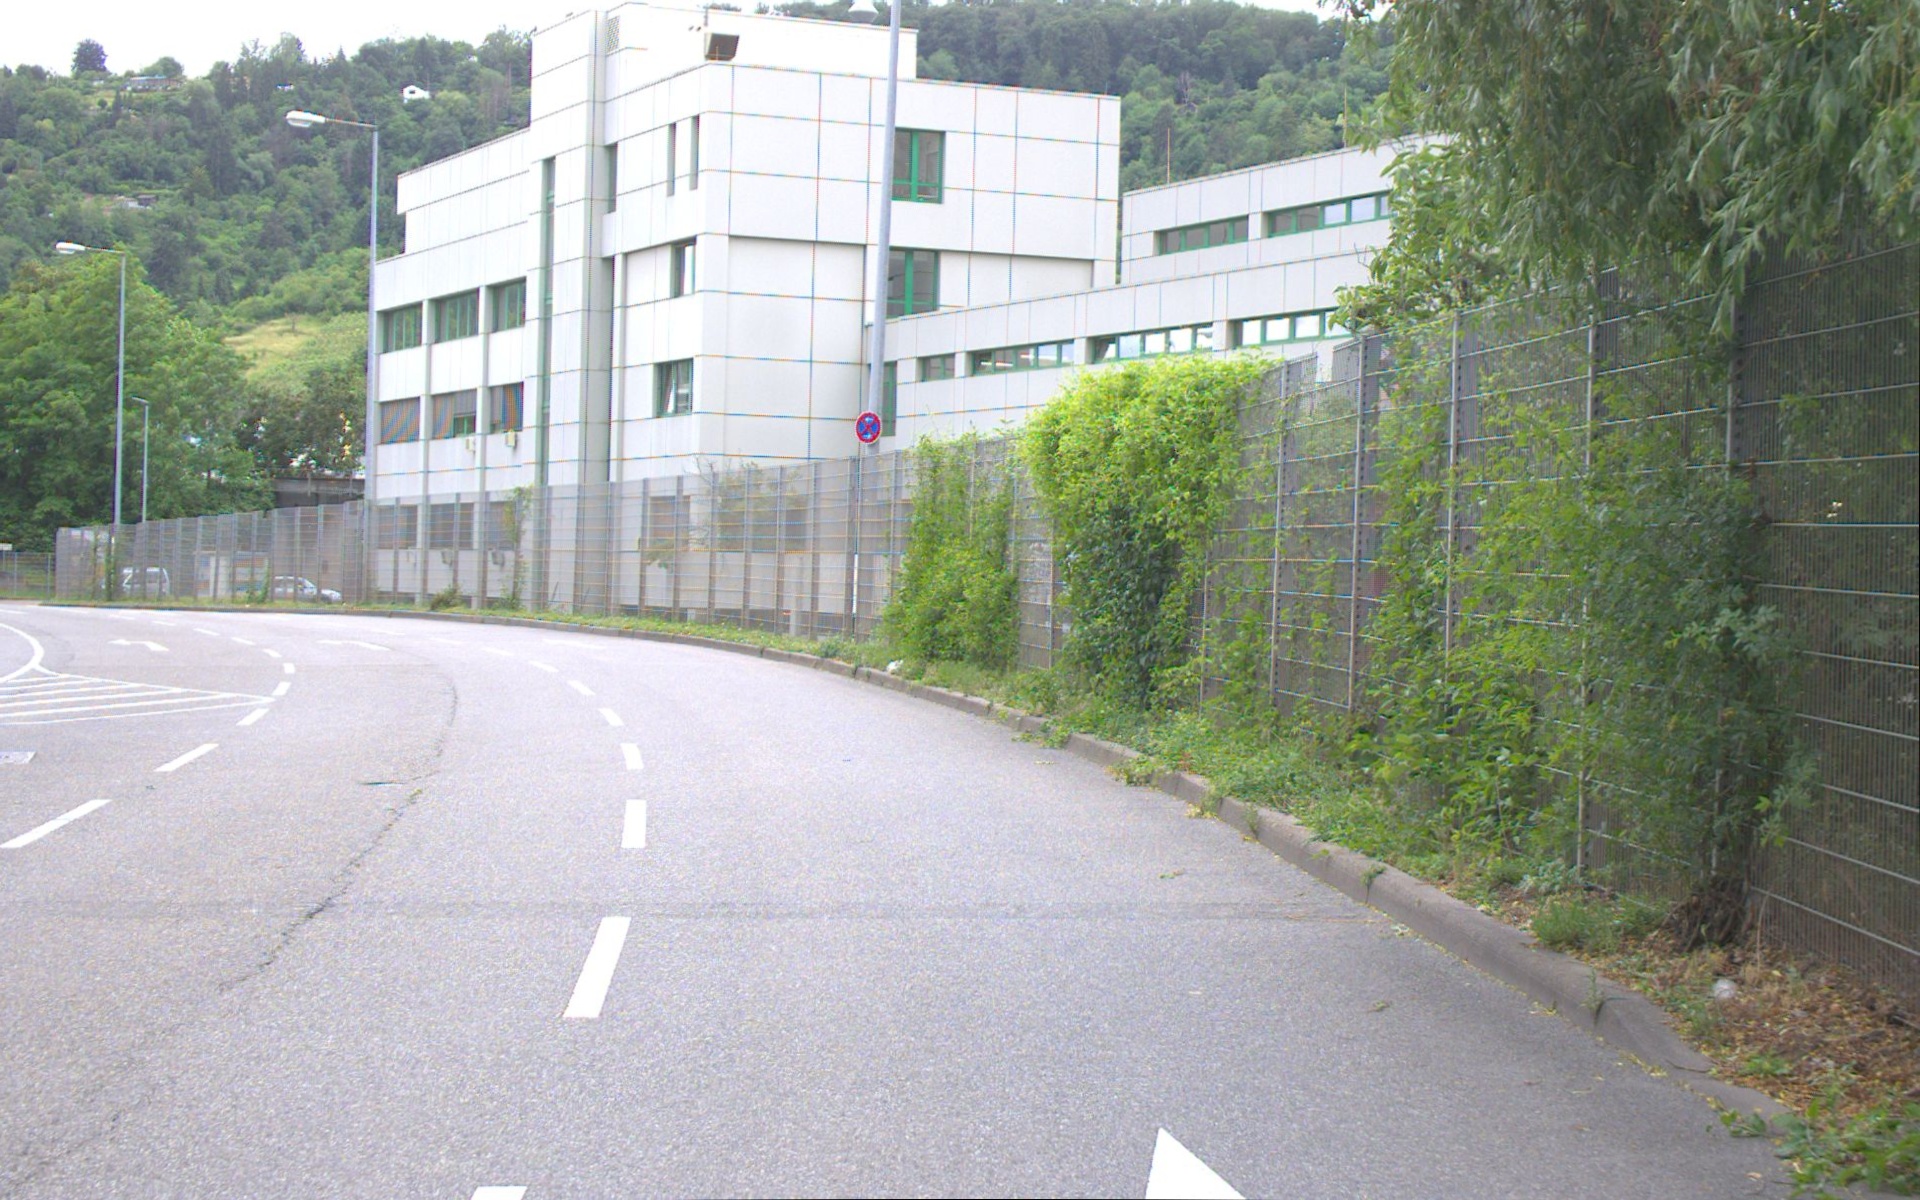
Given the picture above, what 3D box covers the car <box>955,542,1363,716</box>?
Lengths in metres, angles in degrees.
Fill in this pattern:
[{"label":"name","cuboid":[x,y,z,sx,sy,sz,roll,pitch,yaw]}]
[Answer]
[{"label":"car","cuboid":[2.785,0.380,49.785,1.994,2.255,6.167,3,0,-43]}]
